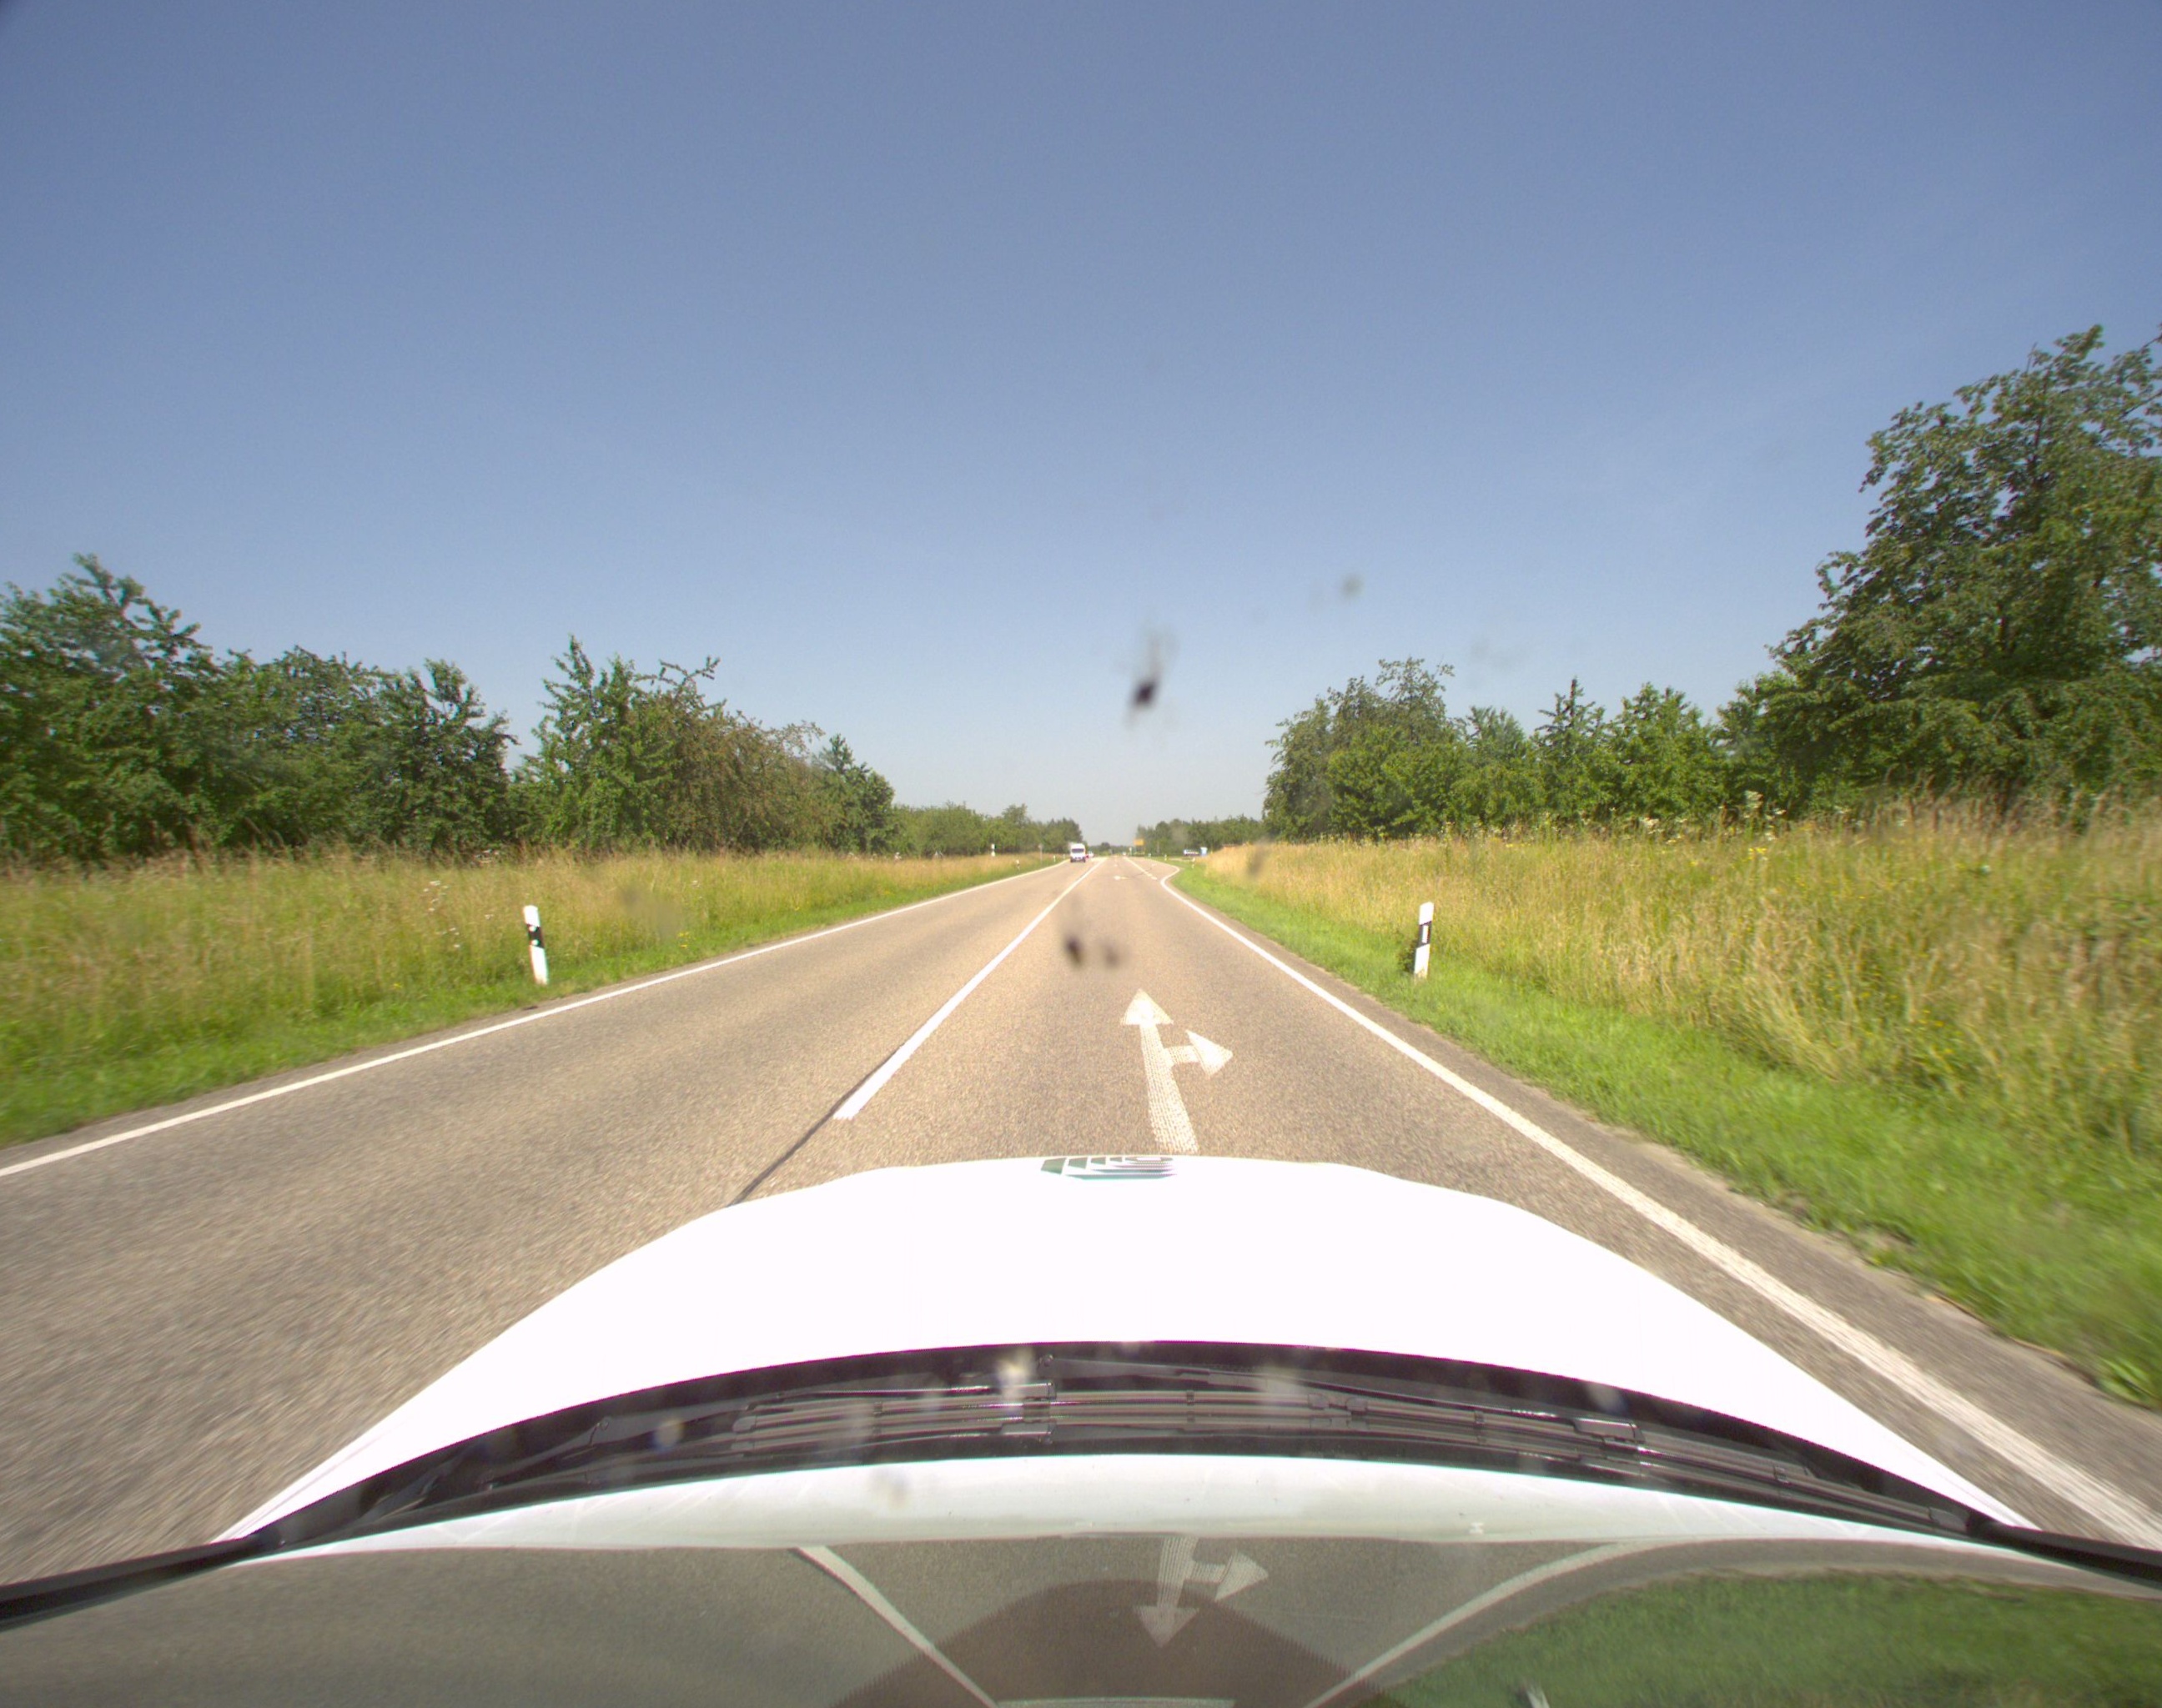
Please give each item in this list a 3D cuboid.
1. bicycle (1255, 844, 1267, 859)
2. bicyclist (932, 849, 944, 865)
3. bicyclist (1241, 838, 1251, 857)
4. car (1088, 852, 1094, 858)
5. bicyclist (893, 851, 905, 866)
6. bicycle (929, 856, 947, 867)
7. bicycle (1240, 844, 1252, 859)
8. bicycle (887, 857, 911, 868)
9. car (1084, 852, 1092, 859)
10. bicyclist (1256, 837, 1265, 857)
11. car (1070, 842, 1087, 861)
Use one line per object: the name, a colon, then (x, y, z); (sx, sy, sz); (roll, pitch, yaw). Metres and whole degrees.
bicycle: (17.667, -0.286, 80.099); (0.747, 1.418, 2.222); (-2, 0, 2)
bicyclist: (-13.465, 0.296, 76.648); (0.852, 1.414, 0.647); (-2, -2, 41)
bicyclist: (16.263, -0.628, 80.403); (0.747, 1.866, 0.869); (-2, 0, 2)
car: (2.664, 0.166, 214.872); (1.669, 1.494, 4.137); (-1, 0, 0)
bicyclist: (-17.655, 0.428, 79.032); (0.854, 1.455, 0.745); (-1, -1, 15)
bicycle: (-13.472, 0.675, 76.647); (1.930, 0.989, 0.655); (-1, -1, 41)
bicycle: (16.273, -0.267, 80.382); (0.747, 1.418, 2.222); (-2, 0, 2)
bicycle: (-17.650, 0.808, 79.026); (2.201, 0.989, 0.745); (-1, -1, 15)
car: (1.619, 0.394, 183.563); (1.619, 1.457, 3.622); (-1, 0, 1)
bicyclist: (17.654, -0.711, 80.110); (0.747, 1.929, 0.828); (-2, 0, 2)
car: (-0.310, -0.322, 113.530); (2.153, 2.669, 6.144); (-1, 0, 1)
